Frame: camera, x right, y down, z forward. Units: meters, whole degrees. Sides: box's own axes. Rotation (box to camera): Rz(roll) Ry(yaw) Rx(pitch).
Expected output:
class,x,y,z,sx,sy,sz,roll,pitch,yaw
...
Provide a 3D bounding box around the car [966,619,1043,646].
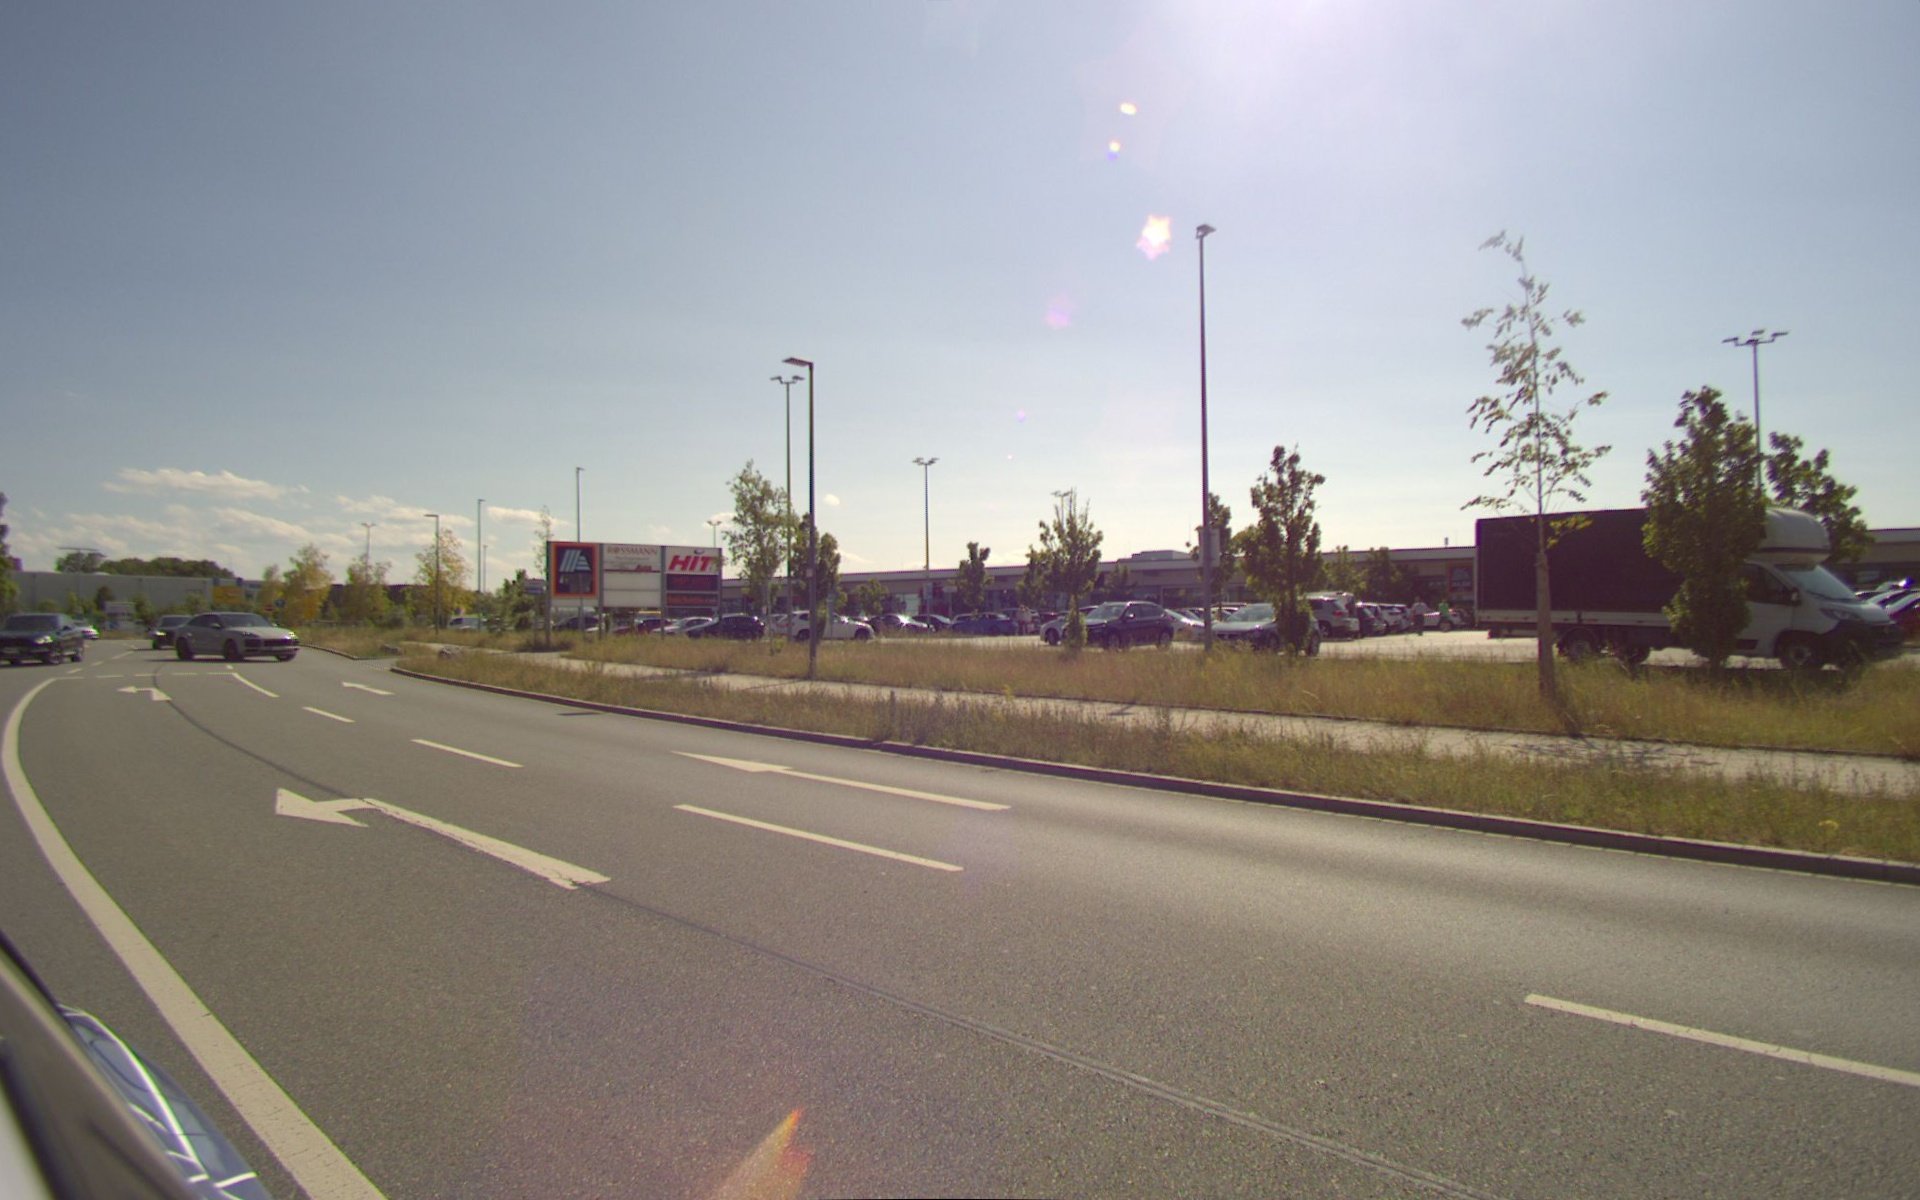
class,x,y,z,sx,sy,sz,roll,pitch,yaw
car,2.669,1.952,60.498,4.338,1.593,1.699,-1,-2,31

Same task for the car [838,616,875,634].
class,x,y,z,sx,sy,sz,roll,pitch,yaw
car,-10.369,2.505,101.492,1.708,1.821,4.316,-1,-2,26

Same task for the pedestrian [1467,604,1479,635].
class,x,y,z,sx,sy,sz,roll,pitch,yaw
pedestrian,33.911,1.286,66.845,0.659,2.029,0.621,-1,-2,28

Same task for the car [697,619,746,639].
class,x,y,z,sx,sy,sz,roll,pitch,yaw
car,-21.482,2.594,91.034,4.571,1.754,1.697,-2,-2,34

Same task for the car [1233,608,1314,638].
class,x,y,z,sx,sy,sz,roll,pitch,yaw
car,18.723,1.374,60.548,4.361,1.738,1.899,-1,-1,28

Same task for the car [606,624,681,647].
class,x,y,z,sx,sy,sz,roll,pitch,yaw
car,-19.875,2.220,63.577,4.091,1.358,1.940,1,-2,-39

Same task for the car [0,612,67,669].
class,x,y,z,sx,sy,sz,roll,pitch,yaw
car,-30.086,1.332,32.450,1.871,1.692,4.475,0,-3,-38

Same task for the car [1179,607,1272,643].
class,x,y,z,sx,sy,sz,roll,pitch,yaw
car,13.364,1.257,50.972,4.352,1.731,1.903,-1,-1,22

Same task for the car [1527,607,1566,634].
class,x,y,z,sx,sy,sz,roll,pitch,yaw
car,39.682,1.398,68.420,1.995,1.798,3.953,-1,-2,34

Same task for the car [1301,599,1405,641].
class,x,y,z,sx,sy,sz,roll,pitch,yaw
car,19.638,1.000,50.626,4.618,2.040,1.818,-1,-2,32

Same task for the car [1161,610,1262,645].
class,x,y,z,sx,sy,sz,roll,pitch,yaw
car,12.133,1.329,48.928,4.367,1.630,1.896,-1,-1,32

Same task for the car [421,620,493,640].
class,x,y,z,sx,sy,sz,roll,pitch,yaw
car,-42.892,2.554,86.416,1.997,1.685,5.131,-2,-2,38

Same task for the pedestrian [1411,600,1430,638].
class,x,y,z,sx,sy,sz,roll,pitch,yaw
pedestrian,21.534,0.885,47.345,0.718,1.762,0.654,-1,-2,32

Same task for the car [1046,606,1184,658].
class,x,y,z,sx,sy,sz,roll,pitch,yaw
car,4.806,0.957,31.026,4.522,1.469,1.839,1,-2,-44

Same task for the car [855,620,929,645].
class,x,y,z,sx,sy,sz,roll,pitch,yaw
car,-4.137,1.979,61.500,4.338,1.528,1.699,-1,-2,31

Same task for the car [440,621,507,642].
class,x,y,z,sx,sy,sz,roll,pitch,yaw
car,-39.794,2.600,82.879,2.000,1.685,4.539,-2,-2,43

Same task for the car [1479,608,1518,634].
class,x,y,z,sx,sy,sz,roll,pitch,yaw
car,37.322,1.451,70.111,1.995,1.798,3.953,-1,-2,34

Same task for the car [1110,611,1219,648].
class,x,y,z,sx,sy,sz,roll,pitch,yaw
car,8.978,1.290,44.539,4.367,1.523,1.818,-1,-1,32

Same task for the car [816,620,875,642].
class,x,y,z,sx,sy,sz,roll,pitch,yaw
car,-8.758,2.372,77.139,4.338,1.584,1.699,-1,-2,31

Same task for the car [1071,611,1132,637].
class,x,y,z,sx,sy,sz,roll,pitch,yaw
car,10.842,1.883,77.844,4.338,1.974,1.699,-1,-2,31

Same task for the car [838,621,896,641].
class,x,y,z,sx,sy,sz,roll,pitch,yaw
car,-7.307,2.435,79.415,4.338,1.544,1.699,-1,-2,31

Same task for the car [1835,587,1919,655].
class,x,y,z,sx,sy,sz,roll,pitch,yaw
car,26.474,0.564,27.031,4.363,1.787,1.819,-1,-1,30

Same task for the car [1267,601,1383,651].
class,x,y,z,sx,sy,sz,roll,pitch,yaw
car,15.643,1.111,43.435,4.367,2.013,1.818,-1,-2,32

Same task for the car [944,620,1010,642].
class,x,y,z,sx,sy,sz,roll,pitch,yaw
car,1.175,2.173,70.794,4.338,1.556,1.699,-1,-2,31

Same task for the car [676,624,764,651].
class,x,y,z,sx,sy,sz,roll,pitch,yaw
car,-12.562,1.957,53.080,4.091,1.358,1.940,1,-2,-39

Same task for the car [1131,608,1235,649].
class,x,y,z,sx,sy,sz,roll,pitch,yaw
car,10.334,1.301,47.007,4.367,1.817,1.896,-1,-2,32

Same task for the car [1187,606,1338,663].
class,x,y,z,sx,sy,sz,roll,pitch,yaw
car,8.125,0.889,27.010,4.372,1.394,1.977,1,-2,-44

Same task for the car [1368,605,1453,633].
class,x,y,z,sx,sy,sz,roll,pitch,yaw
car,26.427,1.112,59.371,4.367,1.604,1.818,-1,-1,32

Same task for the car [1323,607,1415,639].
class,x,y,z,sx,sy,sz,roll,pitch,yaw
car,22.188,1.271,54.913,4.367,1.680,1.818,-1,-1,32

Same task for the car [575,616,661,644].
class,x,y,z,sx,sy,sz,roll,pitch,yaw
car,-24.637,2.155,72.981,2.000,1.980,5.619,-2,-2,43

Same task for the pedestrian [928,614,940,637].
class,x,y,z,sx,sy,sz,roll,pitch,yaw
pedestrian,-2.102,2.047,81.245,0.779,1.837,0.564,-1,-2,32

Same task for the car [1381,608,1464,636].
class,x,y,z,sx,sy,sz,roll,pitch,yaw
car,27.989,1.323,61.325,4.367,1.614,1.818,-1,-1,32

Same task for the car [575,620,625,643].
class,x,y,z,sx,sy,sz,roll,pitch,yaw
car,-42.460,3.696,119.530,1.931,2.607,5.662,-1,-2,29

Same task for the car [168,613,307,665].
class,x,y,z,sx,sy,sz,roll,pitch,yaw
car,-25.233,1.371,35.325,4.754,1.656,2.096,-3,-2,28

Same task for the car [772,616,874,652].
class,x,y,z,sx,sy,sz,roll,pitch,yaw
car,-6.132,1.495,45.378,4.154,1.559,1.923,0,-1,-32

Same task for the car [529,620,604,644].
class,x,y,z,sx,sy,sz,roll,pitch,yaw
car,-28.151,2.302,72.485,4.713,1.685,1.883,1,-3,-45

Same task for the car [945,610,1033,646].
class,x,y,z,sx,sy,sz,roll,pitch,yaw
car,1.647,1.633,57.998,4.816,2.001,1.699,-1,-2,31

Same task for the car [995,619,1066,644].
class,x,y,z,sx,sy,sz,roll,pitch,yaw
car,4.541,2.028,65.424,4.338,1.588,1.699,-1,-2,31

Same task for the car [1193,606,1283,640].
class,x,y,z,sx,sy,sz,roll,pitch,yaw
car,14.748,1.237,53.733,4.359,1.739,1.900,-1,-1,27

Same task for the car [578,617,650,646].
class,x,y,z,sx,sy,sz,roll,pitch,yaw
car,-22.979,2.112,67.286,4.092,1.875,1.935,1,-2,-41

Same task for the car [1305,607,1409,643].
class,x,y,z,sx,sy,sz,roll,pitch,yaw
car,18.795,1.185,47.958,4.367,1.594,1.818,-1,-1,32

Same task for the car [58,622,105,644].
class,x,y,z,sx,sy,sz,roll,pitch,yaw
car,-62.467,2.315,71.941,3.997,1.522,1.883,-1,-2,40

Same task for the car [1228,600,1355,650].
class,x,y,z,sx,sy,sz,roll,pitch,yaw
car,12.706,0.961,38.870,4.367,1.837,1.818,-1,-2,32

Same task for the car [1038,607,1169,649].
class,x,y,z,sx,sy,sz,roll,pitch,yaw
car,5.400,1.054,38.300,4.609,1.523,1.817,-1,-2,34

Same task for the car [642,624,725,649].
class,x,y,z,sx,sy,sz,roll,pitch,yaw
car,-15.609,2.061,57.134,4.091,1.358,1.940,1,-2,-39

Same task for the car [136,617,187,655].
class,x,y,z,sx,sy,sz,roll,pitch,yaw
car,-37.519,1.691,47.635,1.729,1.700,4.390,1,-2,-37

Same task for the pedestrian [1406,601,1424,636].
class,x,y,z,sx,sy,sz,roll,pitch,yaw
pedestrian,23.651,0.959,52.609,0.718,1.762,0.654,-1,-2,32

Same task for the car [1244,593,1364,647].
class,x,y,z,sx,sy,sz,roll,pitch,yaw
car,14.042,0.822,41.402,4.367,2.080,1.818,-1,-2,32

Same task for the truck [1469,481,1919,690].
class,x,y,z,sx,sy,sz,roll,pitch,yaw
truck,14.627,-0.166,20.832,2.284,3.491,7.518,0,-1,-26
